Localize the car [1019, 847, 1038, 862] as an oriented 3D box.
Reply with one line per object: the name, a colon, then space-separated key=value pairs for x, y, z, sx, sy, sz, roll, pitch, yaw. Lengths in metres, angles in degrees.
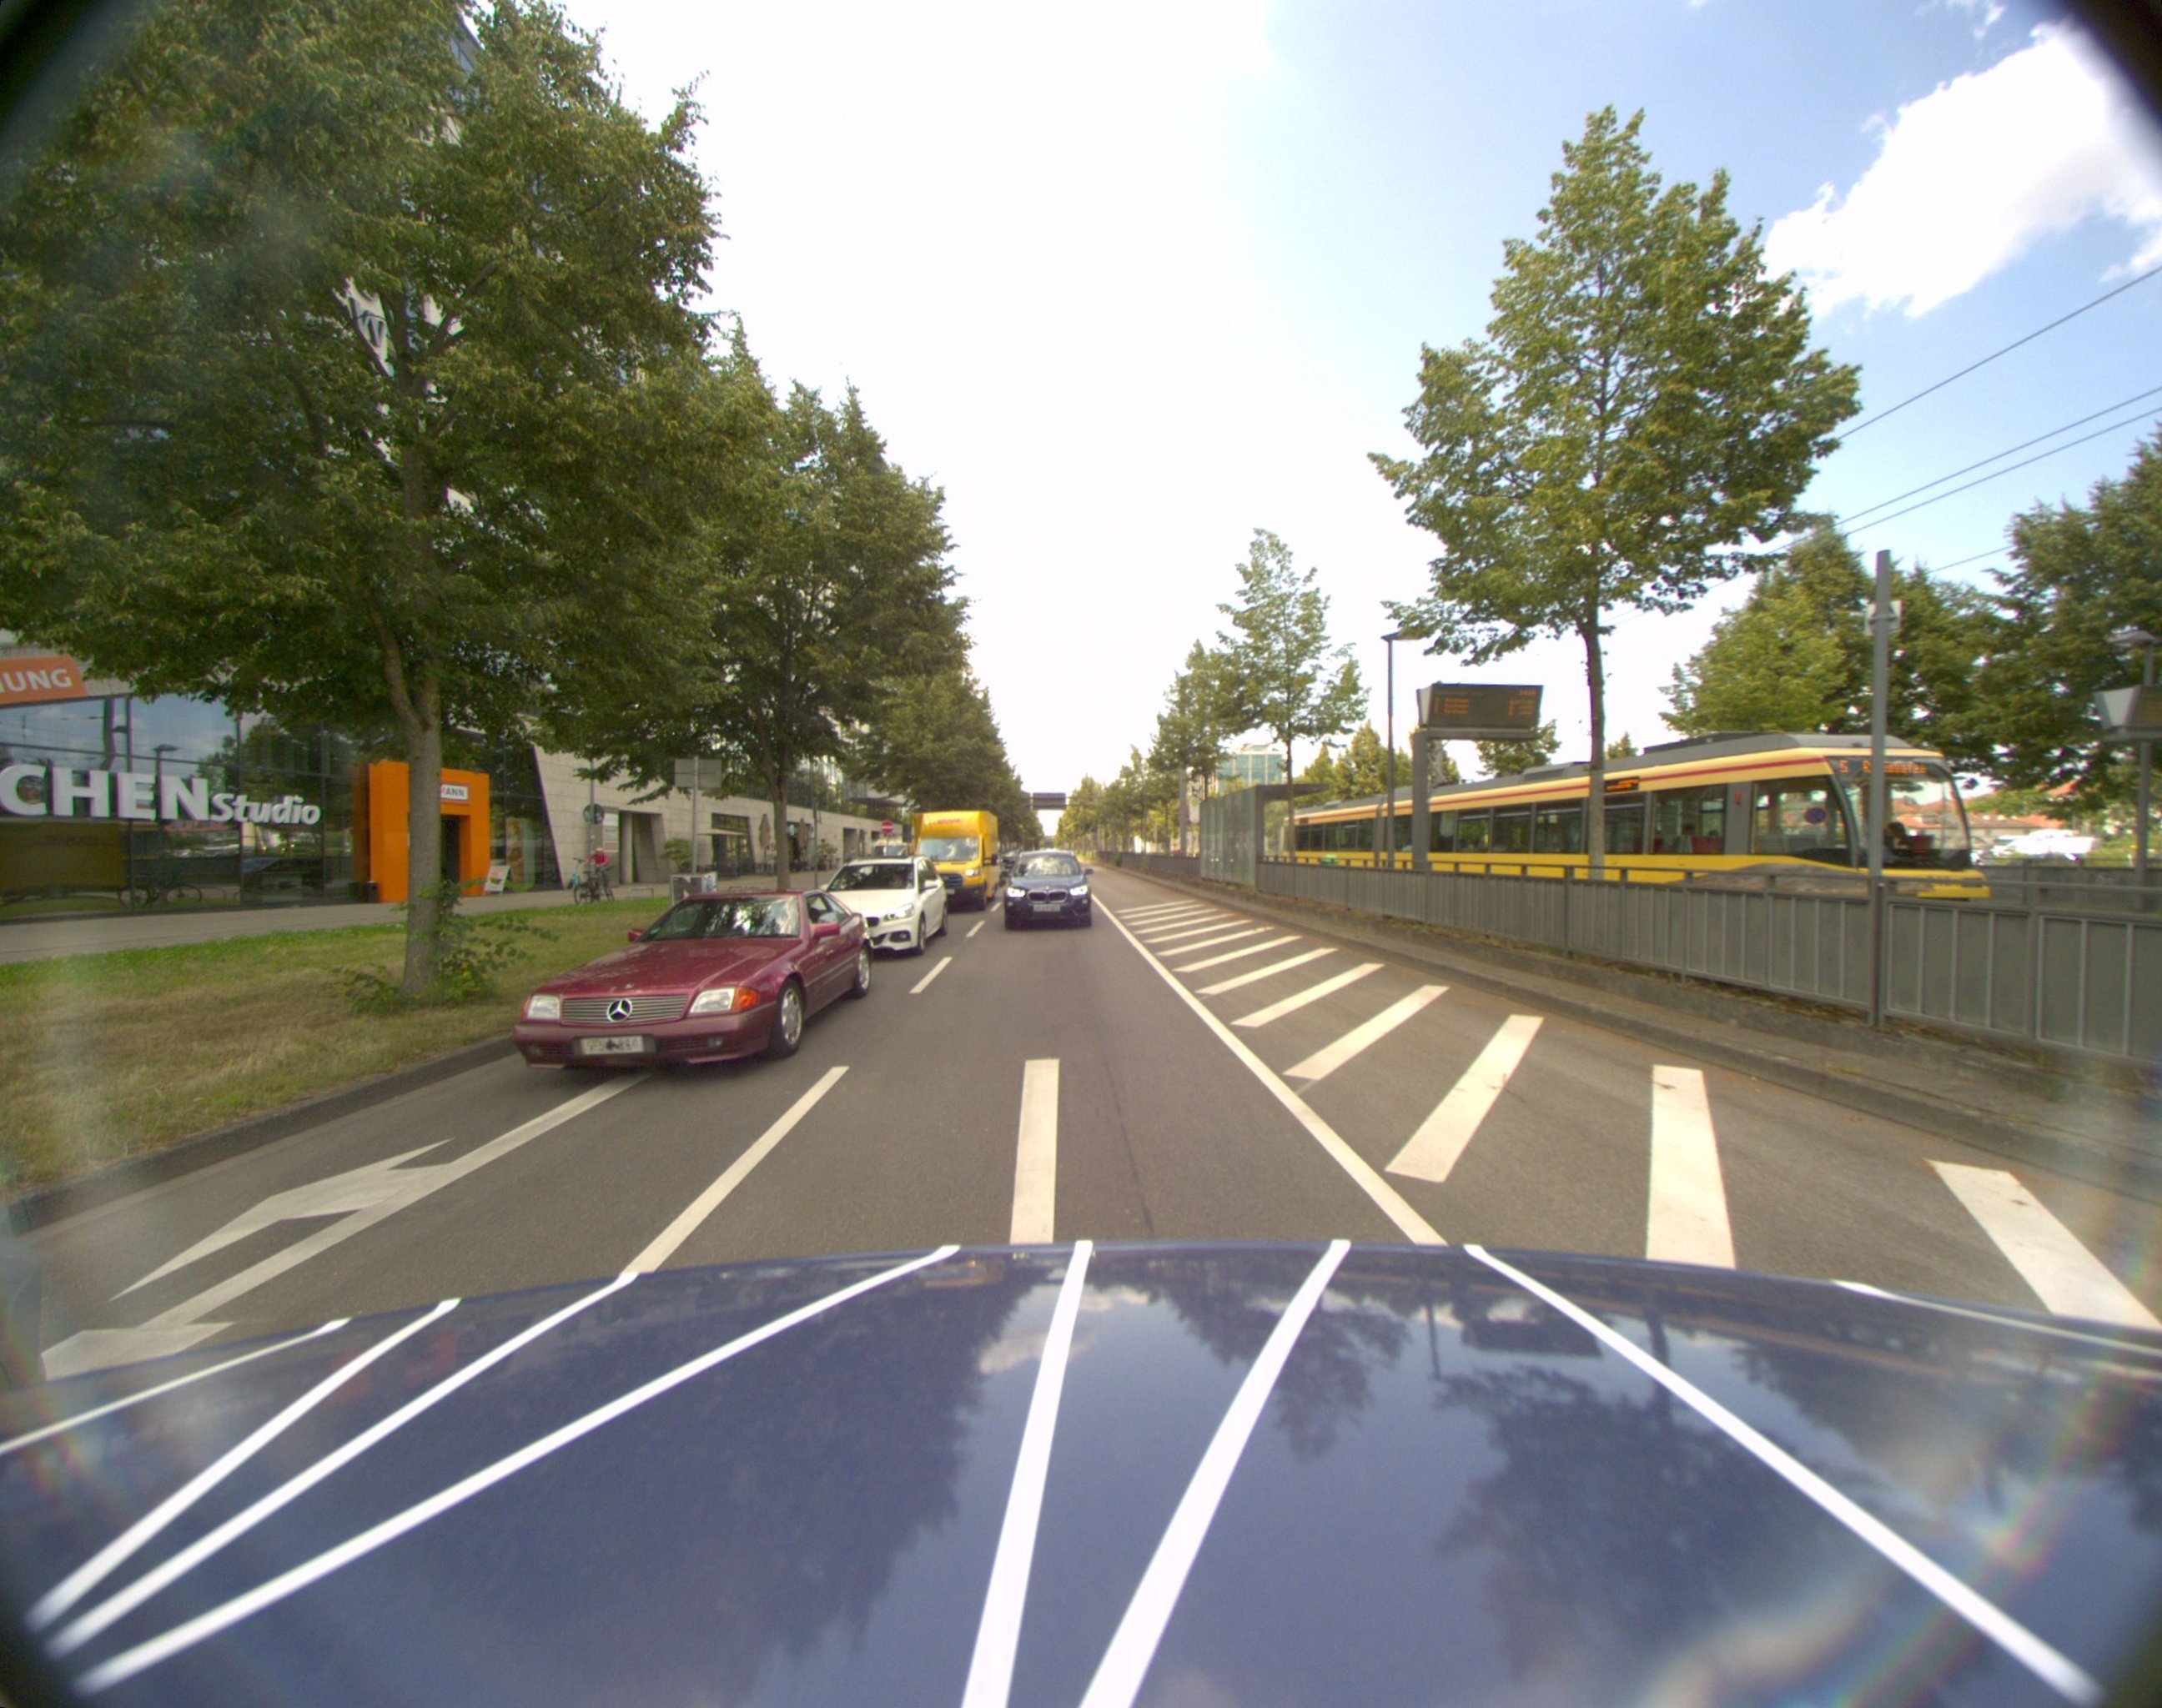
car: x=-6.145 y=0.036 z=89.553 sx=1.823 sy=1.641 sz=3.999 roll=-2 pitch=1 yaw=1

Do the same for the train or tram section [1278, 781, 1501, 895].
train or tram section: x=11.749 y=-0.538 z=31.546 sx=2.694 sy=3.617 sz=14.660 roll=0 pitch=0 yaw=-3

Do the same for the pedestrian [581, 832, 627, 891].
pedestrian: x=-16.711 y=0.264 z=26.651 sx=0.754 sy=2.002 sz=1.232 roll=2 pitch=0 yaw=1

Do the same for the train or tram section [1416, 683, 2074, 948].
train or tram section: x=12.360 y=-0.563 z=17.449 sx=2.850 sy=3.718 sz=13.472 roll=0 pitch=0 yaw=-3

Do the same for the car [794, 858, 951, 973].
car: x=-3.408 y=0.918 z=13.224 sx=1.674 sy=1.589 sz=4.127 roll=-2 pitch=0 yaw=-2

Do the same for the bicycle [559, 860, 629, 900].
bicycle: x=-16.817 y=0.864 z=26.319 sx=0.812 sy=1.237 sz=2.411 roll=4 pitch=0 yaw=0

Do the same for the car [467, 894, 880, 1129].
car: x=-3.184 y=1.129 z=6.992 sx=1.674 sy=1.254 sz=4.091 roll=-2 pitch=0 yaw=-2

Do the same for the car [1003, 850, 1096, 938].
car: x=-0.695 y=0.776 z=17.041 sx=1.774 sy=1.589 sz=4.126 roll=-2 pitch=1 yaw=-2

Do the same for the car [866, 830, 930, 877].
car: x=-10.229 y=-0.048 z=43.040 sx=2.161 sy=2.380 sz=6.276 roll=-2 pitch=1 yaw=-1

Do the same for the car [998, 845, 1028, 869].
car: x=-5.329 y=0.176 z=60.372 sx=1.999 sy=1.751 sz=4.295 roll=-2 pitch=1 yaw=-1

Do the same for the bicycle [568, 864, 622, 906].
bicycle: x=-13.447 y=0.846 z=21.079 sx=0.516 sy=1.082 sz=1.748 roll=0 pitch=0 yaw=-6

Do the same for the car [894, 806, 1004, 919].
car: x=-3.788 y=0.176 z=23.299 sx=2.284 sy=2.837 sz=7.253 roll=-2 pitch=1 yaw=-2
